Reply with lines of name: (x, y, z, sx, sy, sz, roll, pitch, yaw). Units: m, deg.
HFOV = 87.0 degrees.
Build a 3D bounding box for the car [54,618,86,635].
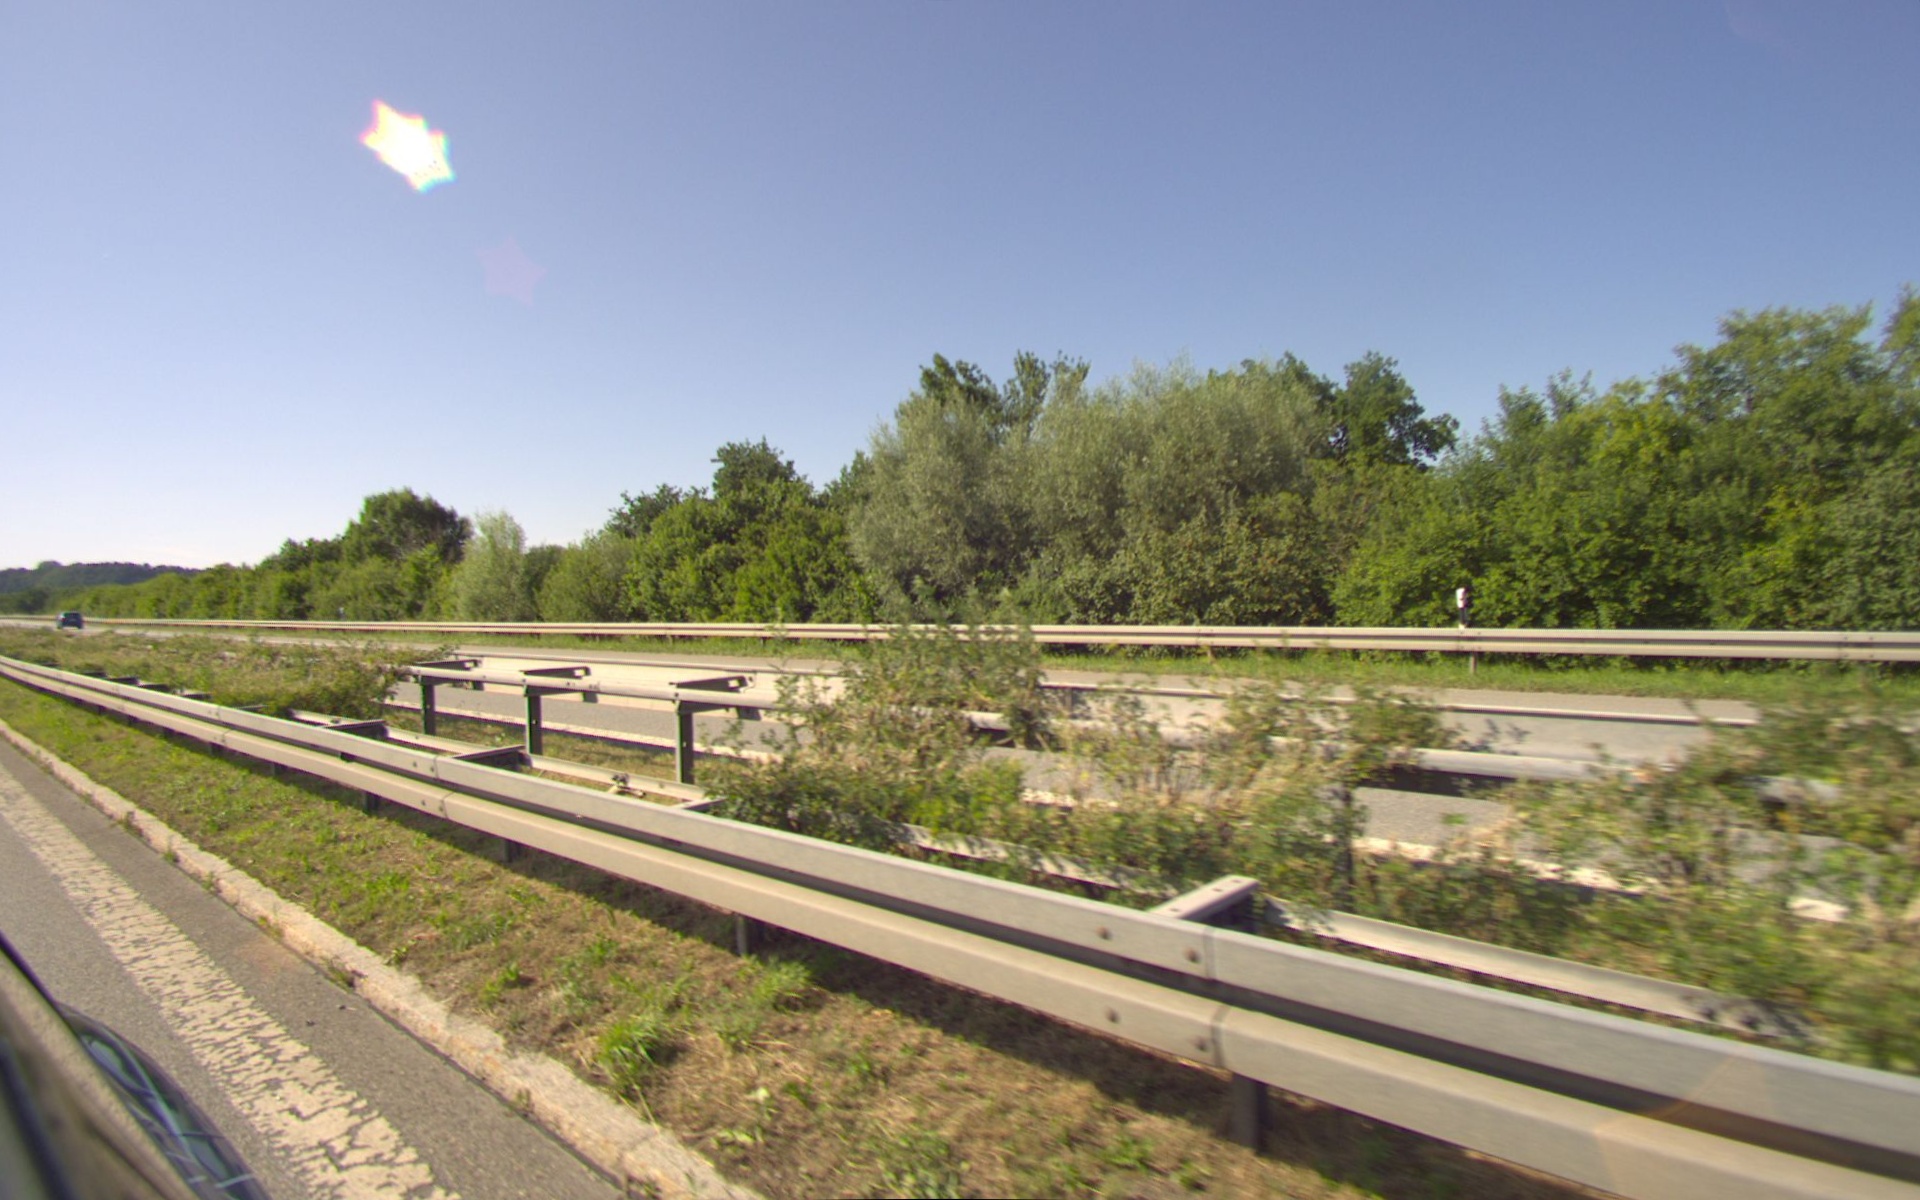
car: (-77.892, 2.291, 88.575, 3.999, 1.452, 1.658, -1, -1, 42)
